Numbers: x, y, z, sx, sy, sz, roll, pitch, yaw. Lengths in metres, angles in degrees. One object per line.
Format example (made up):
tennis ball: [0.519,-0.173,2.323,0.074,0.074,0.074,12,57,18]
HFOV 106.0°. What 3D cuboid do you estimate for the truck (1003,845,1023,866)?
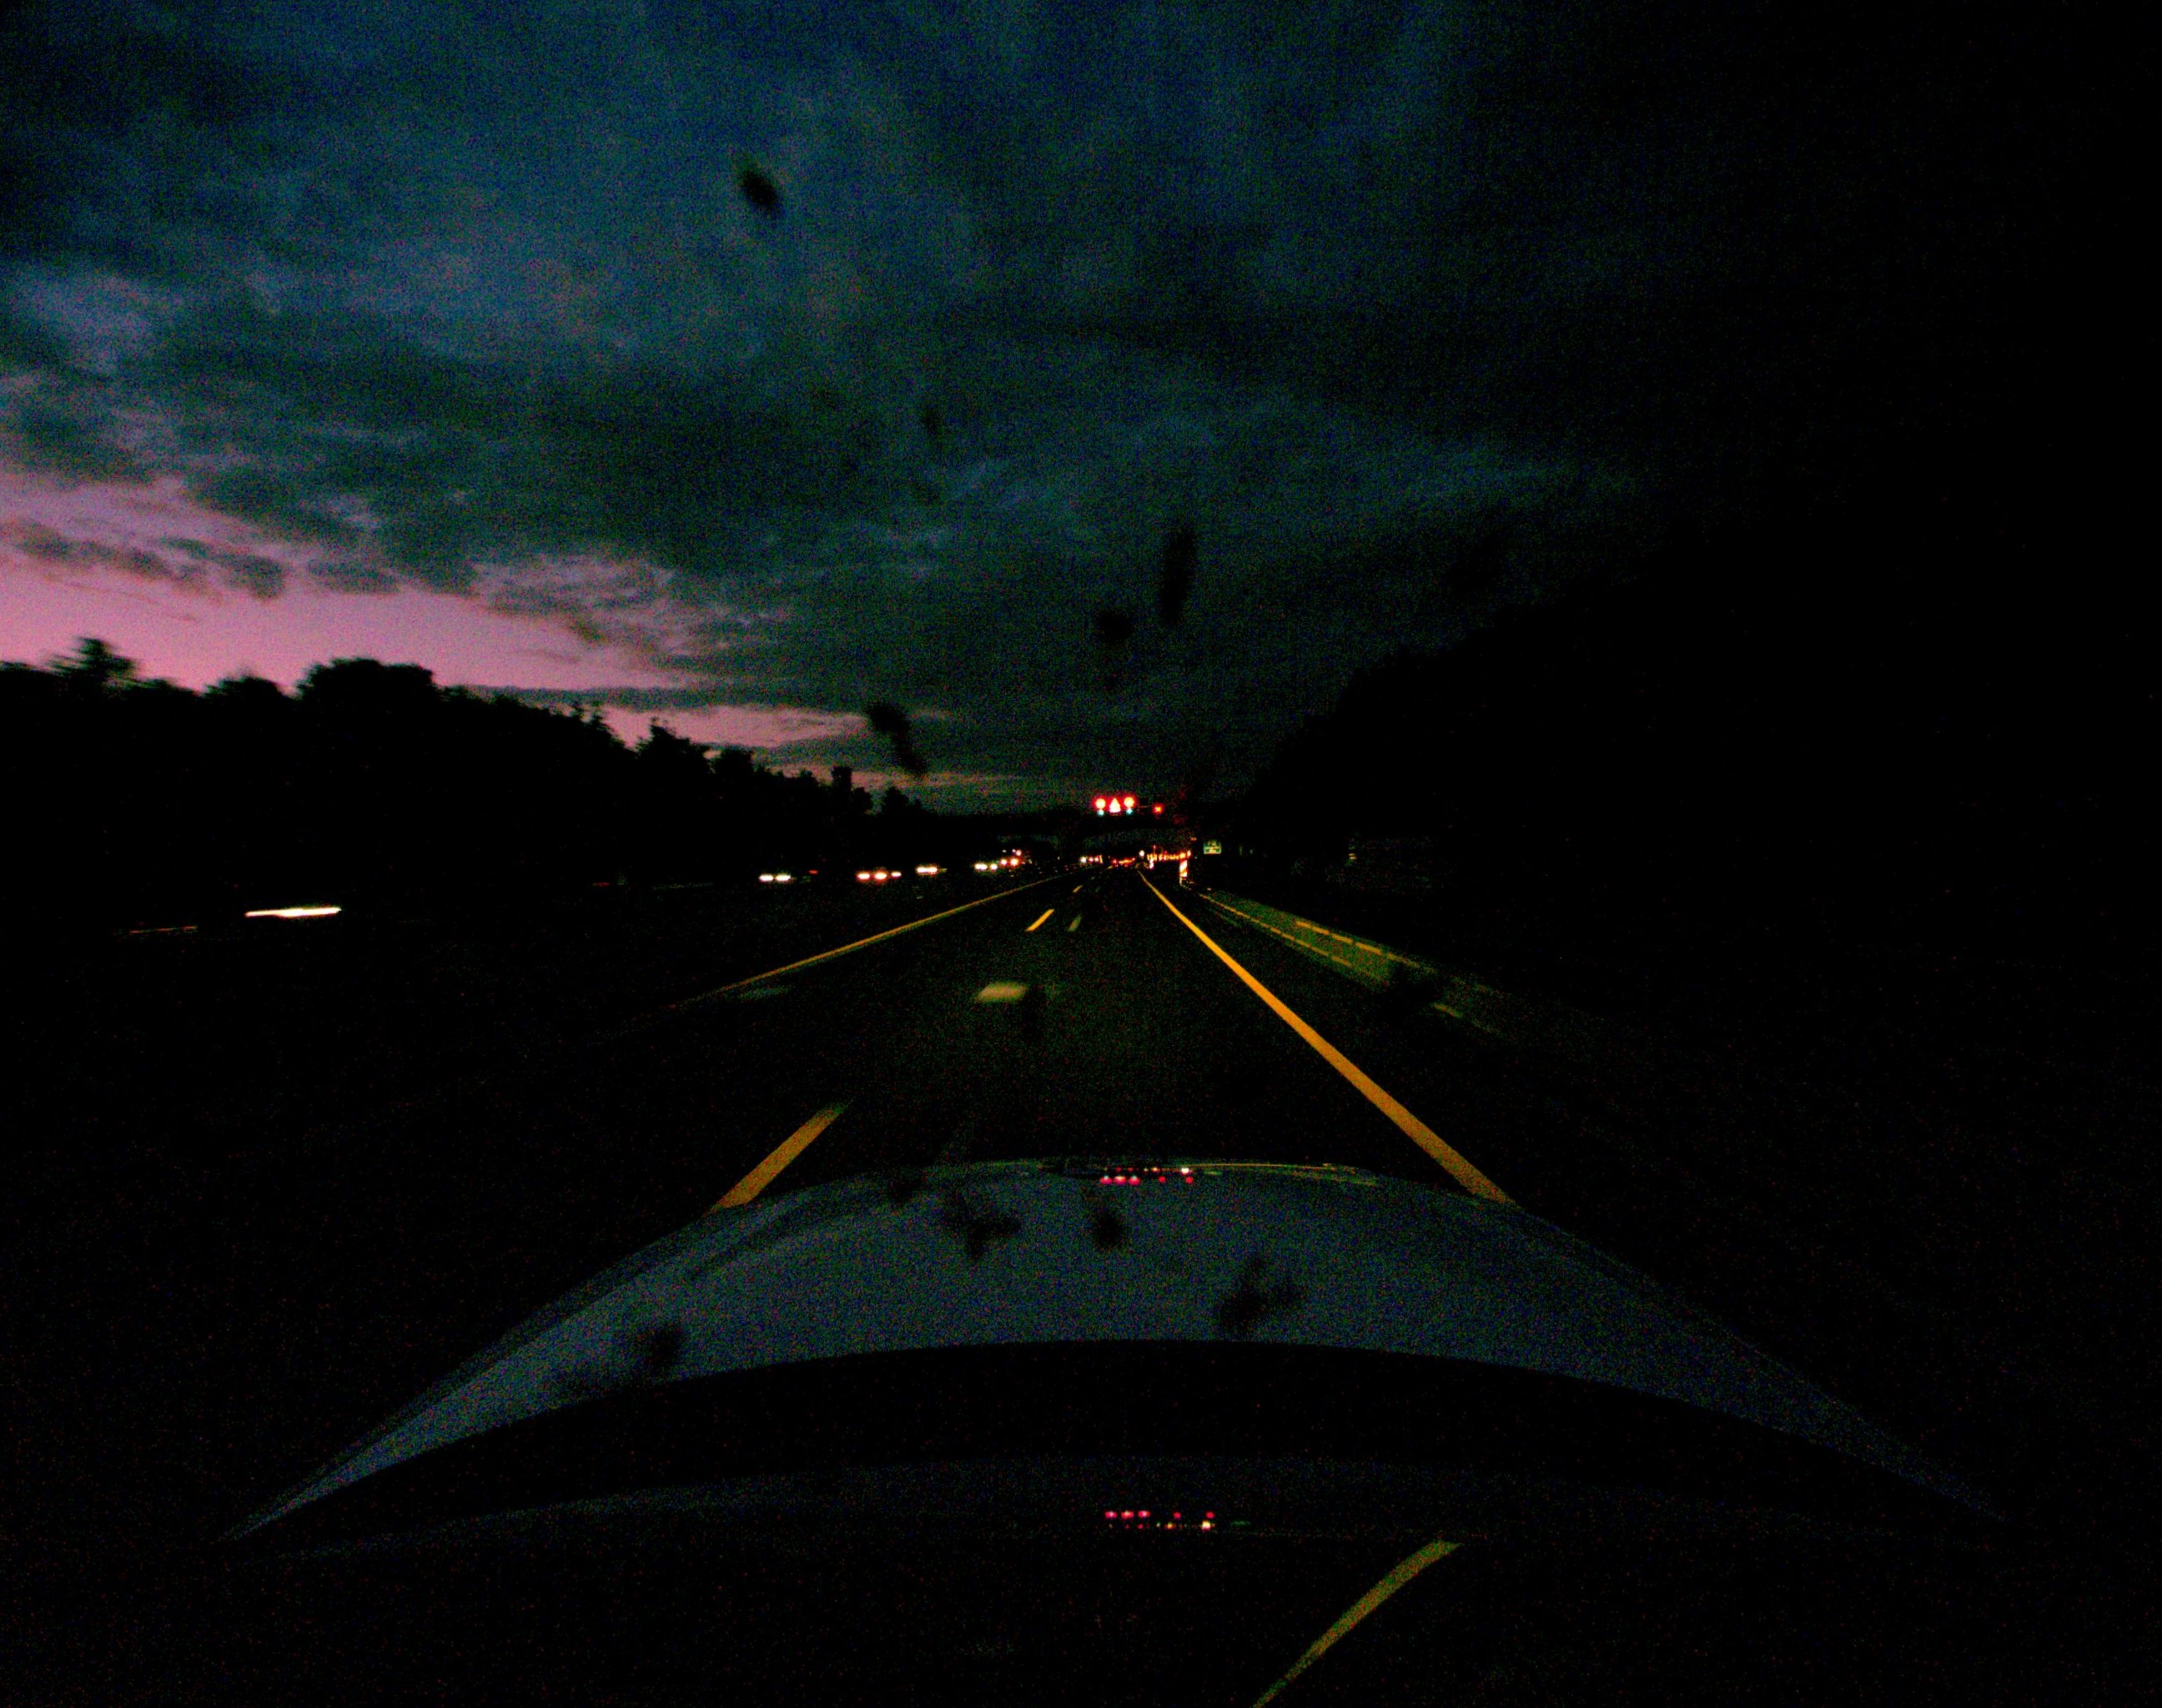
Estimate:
truck: [-13.652,0.315,164.274,2.763,4.171,6.395,0,0,6]

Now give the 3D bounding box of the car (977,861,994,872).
car: [-14.797,1.960,126.433,1.584,1.604,5.041,0,0,5]

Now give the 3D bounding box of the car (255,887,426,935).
car: [-27.219,2.033,30.203,1.817,1.485,4.706,0,0,4]

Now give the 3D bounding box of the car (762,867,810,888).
car: [-23.792,1.859,65.856,1.796,1.638,4.756,0,0,4]

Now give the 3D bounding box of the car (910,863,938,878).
car: [-16.738,1.744,87.131,1.796,1.638,4.756,0,0,4]

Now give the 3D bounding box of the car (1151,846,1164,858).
car: [22.230,-0.540,237.050,3.590,3.396,8.020,0,0,3]

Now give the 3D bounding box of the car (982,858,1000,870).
car: [-13.009,1.414,117.802,1.729,1.638,4.896,0,0,4]

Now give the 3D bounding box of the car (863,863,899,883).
car: [-17.549,1.652,71.751,1.672,1.638,4.756,0,0,4]

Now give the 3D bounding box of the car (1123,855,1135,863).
car: [8.823,0.979,149.490,1.961,1.437,4.007,0,0,7]

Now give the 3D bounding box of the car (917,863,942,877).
car: [-18.143,1.903,97.608,1.729,1.638,5.176,0,0,4]

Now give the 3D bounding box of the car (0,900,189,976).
car: [-24.687,1.954,19.268,1.802,1.485,4.706,0,0,4]

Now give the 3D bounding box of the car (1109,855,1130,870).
car: [4.157,0.946,88.610,2.257,1.621,4.001,0,0,1]
